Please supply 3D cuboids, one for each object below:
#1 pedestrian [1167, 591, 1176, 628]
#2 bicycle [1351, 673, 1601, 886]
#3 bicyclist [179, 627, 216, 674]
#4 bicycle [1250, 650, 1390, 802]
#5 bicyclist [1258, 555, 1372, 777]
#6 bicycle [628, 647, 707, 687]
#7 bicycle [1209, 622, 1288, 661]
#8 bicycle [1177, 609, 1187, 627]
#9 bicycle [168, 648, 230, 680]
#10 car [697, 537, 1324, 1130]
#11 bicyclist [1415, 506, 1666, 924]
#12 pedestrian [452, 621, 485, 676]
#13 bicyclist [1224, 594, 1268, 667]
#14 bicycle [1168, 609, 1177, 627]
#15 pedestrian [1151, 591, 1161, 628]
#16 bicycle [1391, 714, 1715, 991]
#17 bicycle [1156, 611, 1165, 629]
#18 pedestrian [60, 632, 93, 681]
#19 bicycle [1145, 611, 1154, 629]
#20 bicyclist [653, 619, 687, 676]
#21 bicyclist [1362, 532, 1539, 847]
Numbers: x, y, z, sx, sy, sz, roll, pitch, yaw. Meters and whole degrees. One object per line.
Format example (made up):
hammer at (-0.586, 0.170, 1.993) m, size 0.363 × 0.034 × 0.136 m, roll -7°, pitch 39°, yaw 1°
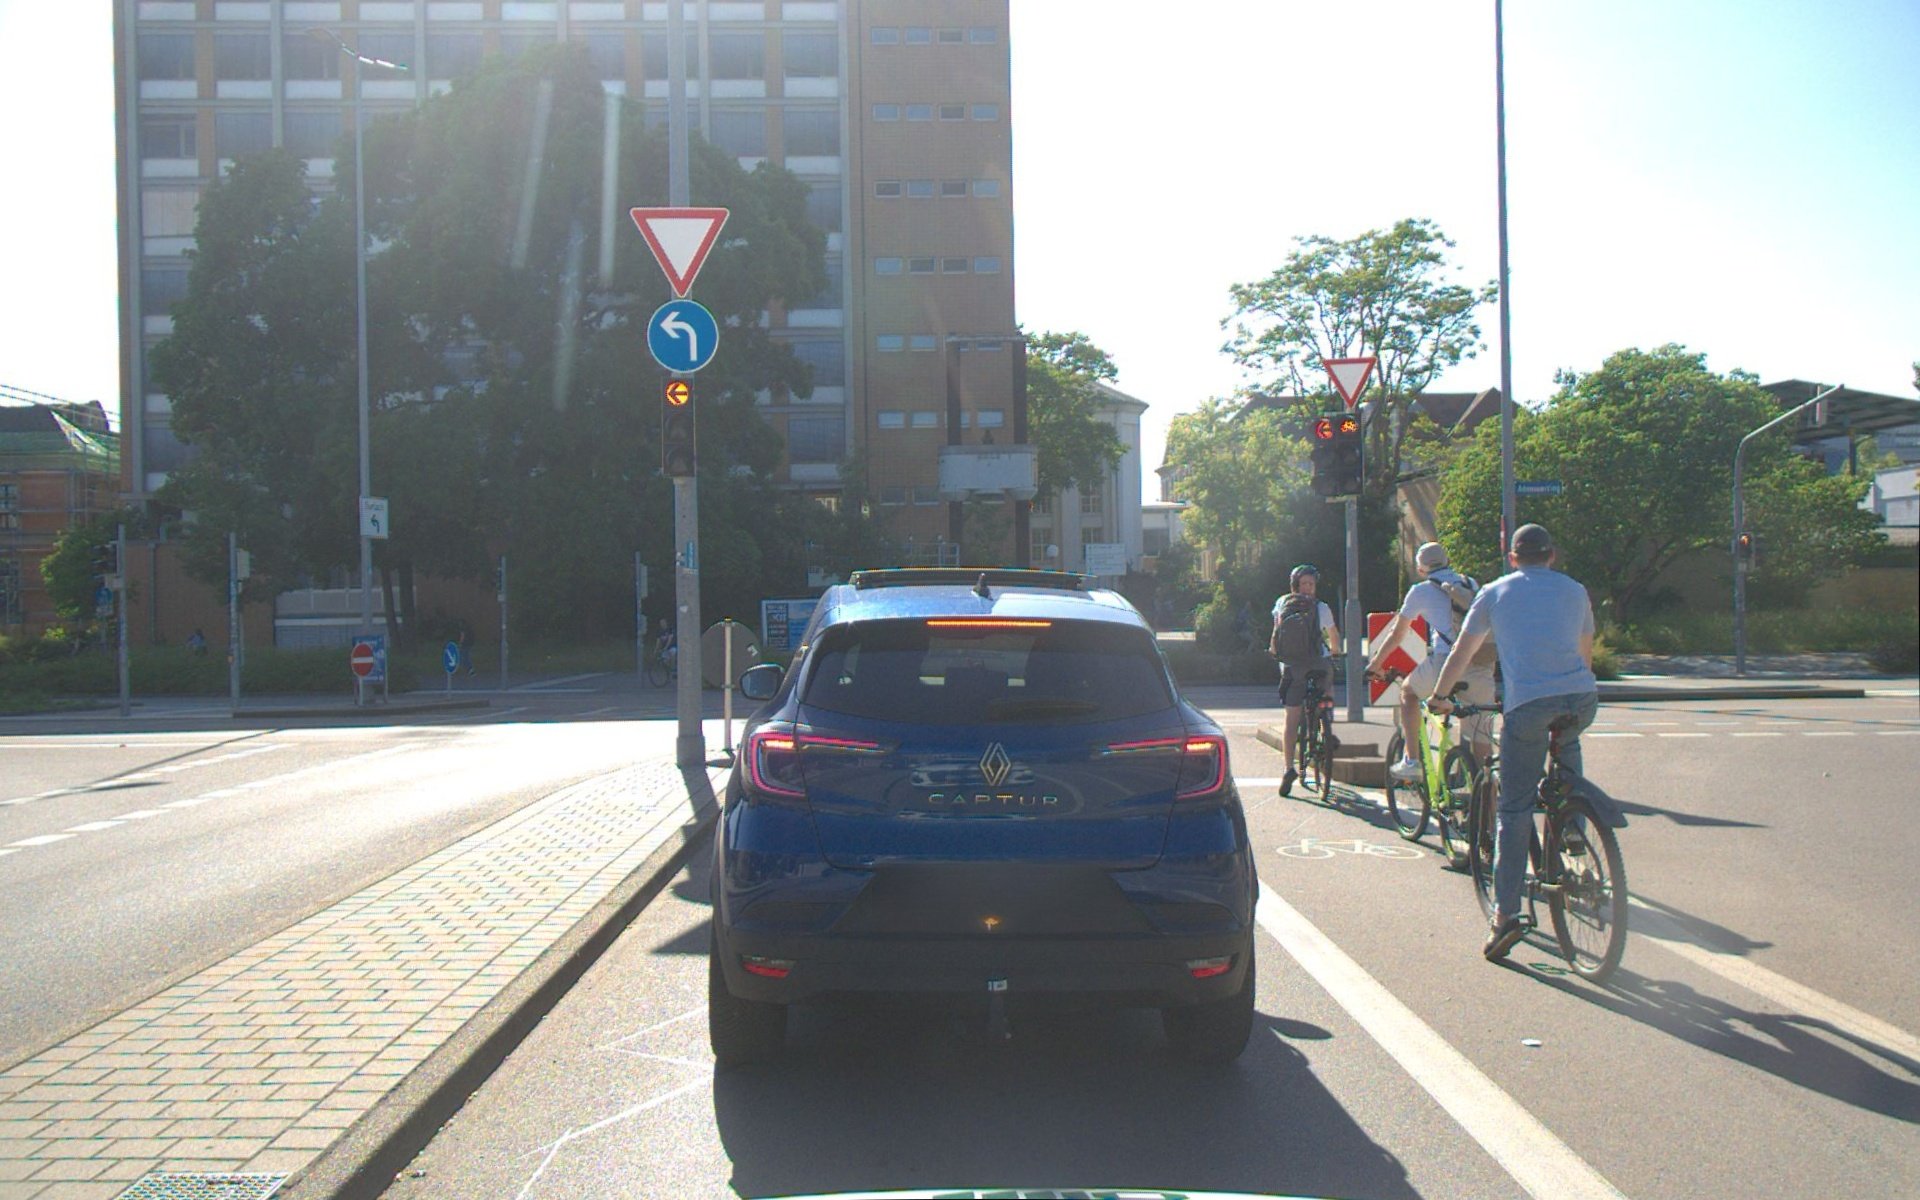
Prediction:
pedestrian at (11.838, 0.538, 92.565) m, size 0.465 × 2.049 × 0.468 m, roll -1°, pitch 0°, yaw 5°
bicycle at (2.910, 0.975, 9.555) m, size 0.646 × 1.020 × 1.967 m, roll 1°, pitch 0°, yaw -6°
bicyclist at (-24.032, 1.594, 52.125) m, size 0.918 × 1.454 × 0.598 m, roll -1°, pitch 0°, yaw 25°
bicycle at (2.770, 0.934, 12.927) m, size 0.723 × 1.012 × 2.174 m, roll 1°, pitch 0°, yaw 3°
bicyclist at (2.768, 0.499, 12.978) m, size 0.711 × 1.657 × 0.969 m, roll 1°, pitch 0°, yaw 3°
bicycle at (-7.710, 1.763, 43.622) m, size 1.982 × 0.981 × 0.593 m, roll -1°, pitch 0°, yaw -28°
bicycle at (7.645, 1.107, 43.888) m, size 2.037 × 0.946 × 0.697 m, roll -2°, pitch 1°, yaw 8°
bicycle at (12.691, 1.031, 94.592) m, size 0.397 × 0.990 × 1.684 m, roll 1°, pitch 0°, yaw 3°
bicycle at (-23.967, 2.015, 52.089) m, size 2.035 × 0.981 × 0.598 m, roll -1°, pitch 0°, yaw 26°
car at (0.070, 0.666, 6.685) m, size 1.767 × 1.660 × 3.998 m, roll 1°, pitch 0°, yaw -3°
bicyclist at (2.517, 0.471, 7.274) m, size 0.736 × 1.698 × 1.016 m, roll 1°, pitch 0°, yaw 0°
pedestrian at (-14.815, 1.466, 49.846) m, size 0.721 × 1.631 × 0.599 m, roll -1°, pitch 0°, yaw 15°
bicyclist at (7.589, 0.805, 43.837) m, size 1.078 × 1.900 × 0.653 m, roll -2°, pitch 0°, yaw 10°
bicycle at (12.166, 1.022, 94.571) m, size 0.397 × 0.990 × 1.684 m, roll 1°, pitch 0°, yaw 3°
pedestrian at (10.807, 0.514, 91.198) m, size 0.465 × 2.049 × 0.523 m, roll -1°, pitch 0°, yaw 5°
bicycle at (2.512, 1.027, 7.277) m, size 0.725 × 0.911 × 1.978 m, roll 1°, pitch 0°, yaw 0°
bicycle at (11.415, 1.154, 94.192) m, size 0.397 × 0.990 × 1.684 m, roll 1°, pitch 0°, yaw 3°
pedestrian at (-29.501, 1.883, 55.256) m, size 0.843 × 1.598 × 0.559 m, roll -1°, pitch 0°, yaw 24°
bicycle at (10.805, 1.143, 94.226) m, size 0.397 × 0.990 × 1.684 m, roll 1°, pitch 0°, yaw 3°
bicyclist at (-7.662, 1.239, 43.649) m, size 0.728 × 1.466 × 0.593 m, roll -1°, pitch 0°, yaw -27°
bicyclist at (2.891, 0.507, 9.844) m, size 0.633 × 1.769 × 1.065 m, roll 1°, pitch 0°, yaw -6°
